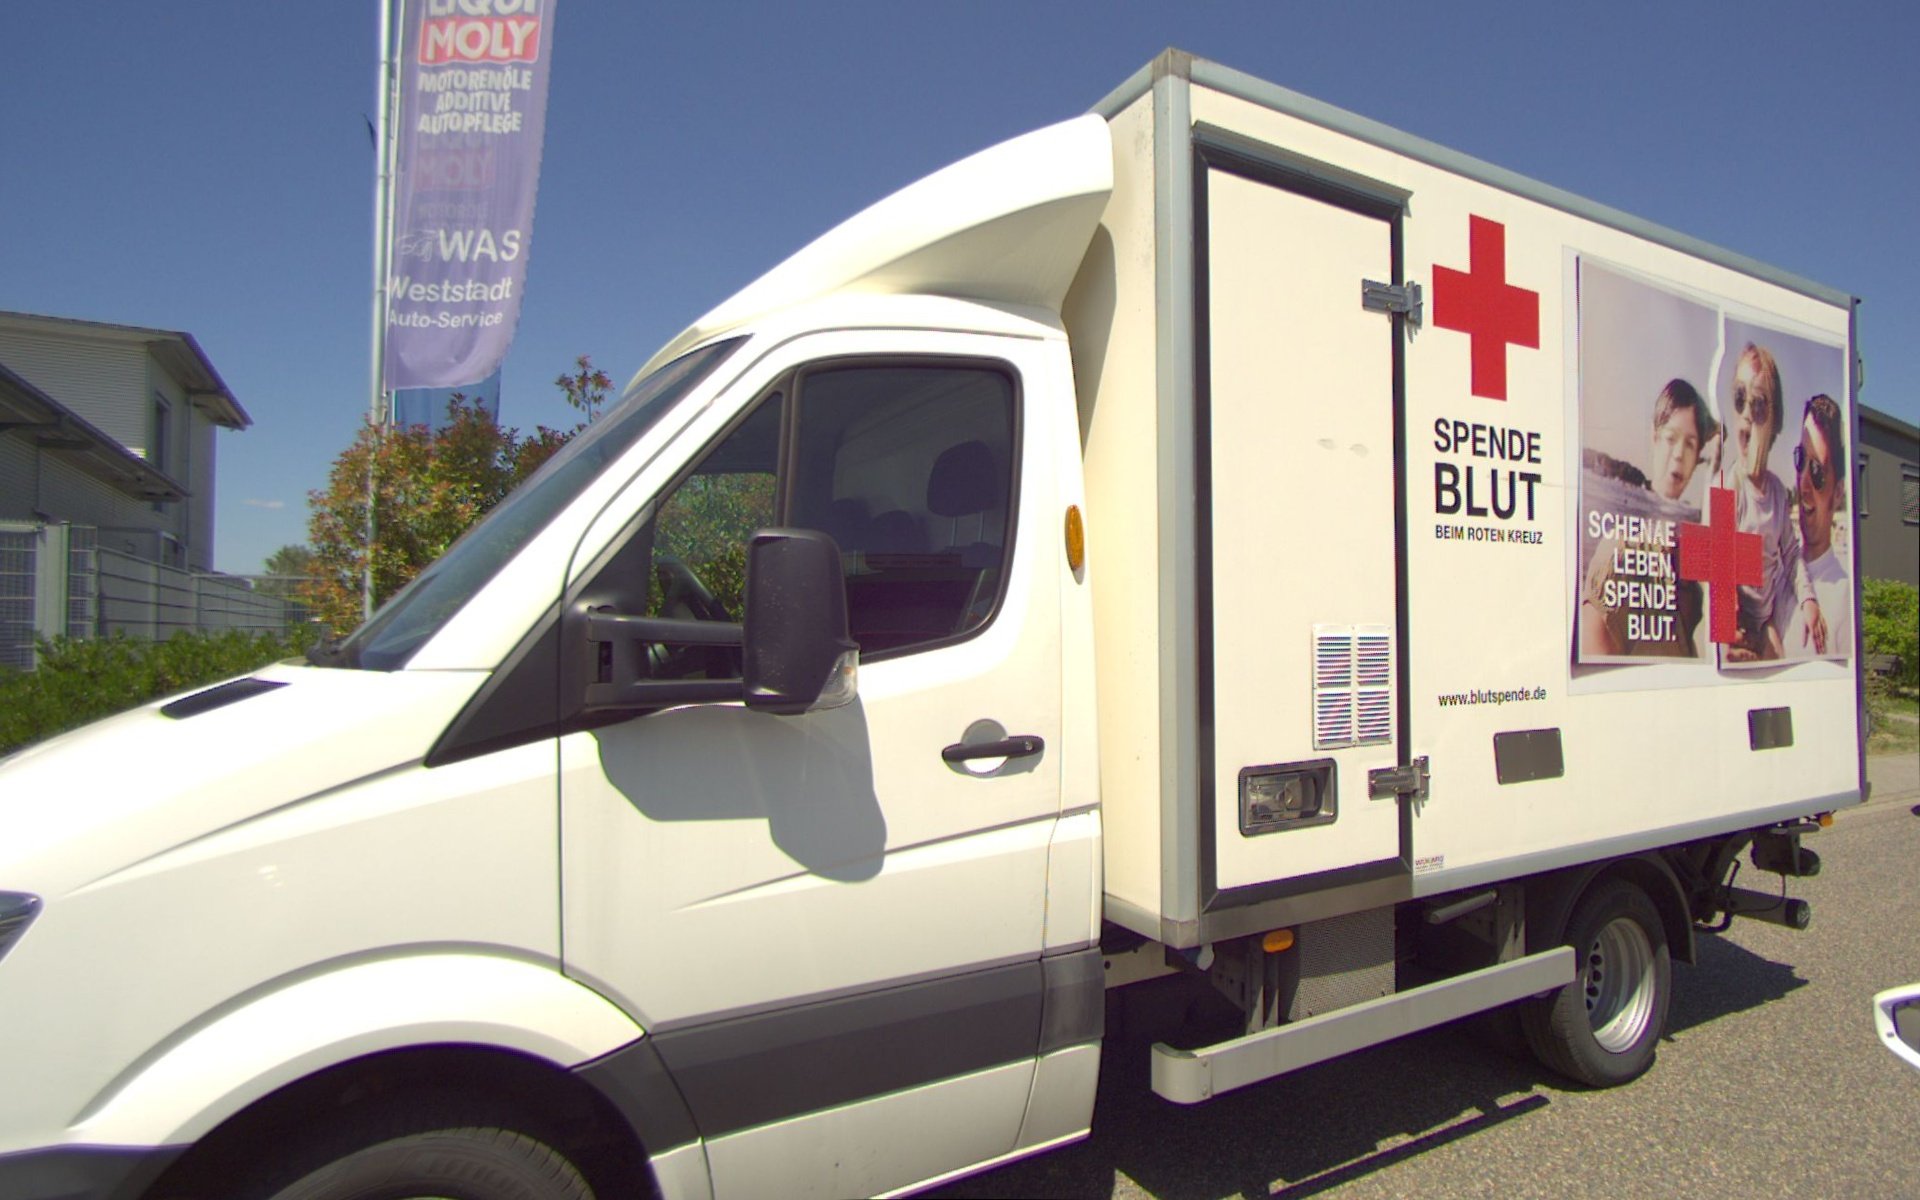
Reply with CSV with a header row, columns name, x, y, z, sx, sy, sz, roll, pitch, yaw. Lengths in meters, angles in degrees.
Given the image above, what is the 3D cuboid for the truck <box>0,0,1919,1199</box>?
name,x,y,z,sx,sy,sz,roll,pitch,yaw
truck,0.665,0.080,3.560,6.338,2.897,2.352,2,-4,-30

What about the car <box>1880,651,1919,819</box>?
name,x,y,z,sx,sy,sz,roll,pitch,yaw
car,10.508,1.158,8.879,4.349,1.440,1.780,1,-4,-22

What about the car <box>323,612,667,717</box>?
name,x,y,z,sx,sy,sz,roll,pitch,yaw
car,-7.286,0.972,16.011,4.713,1.435,1.922,2,0,-30
